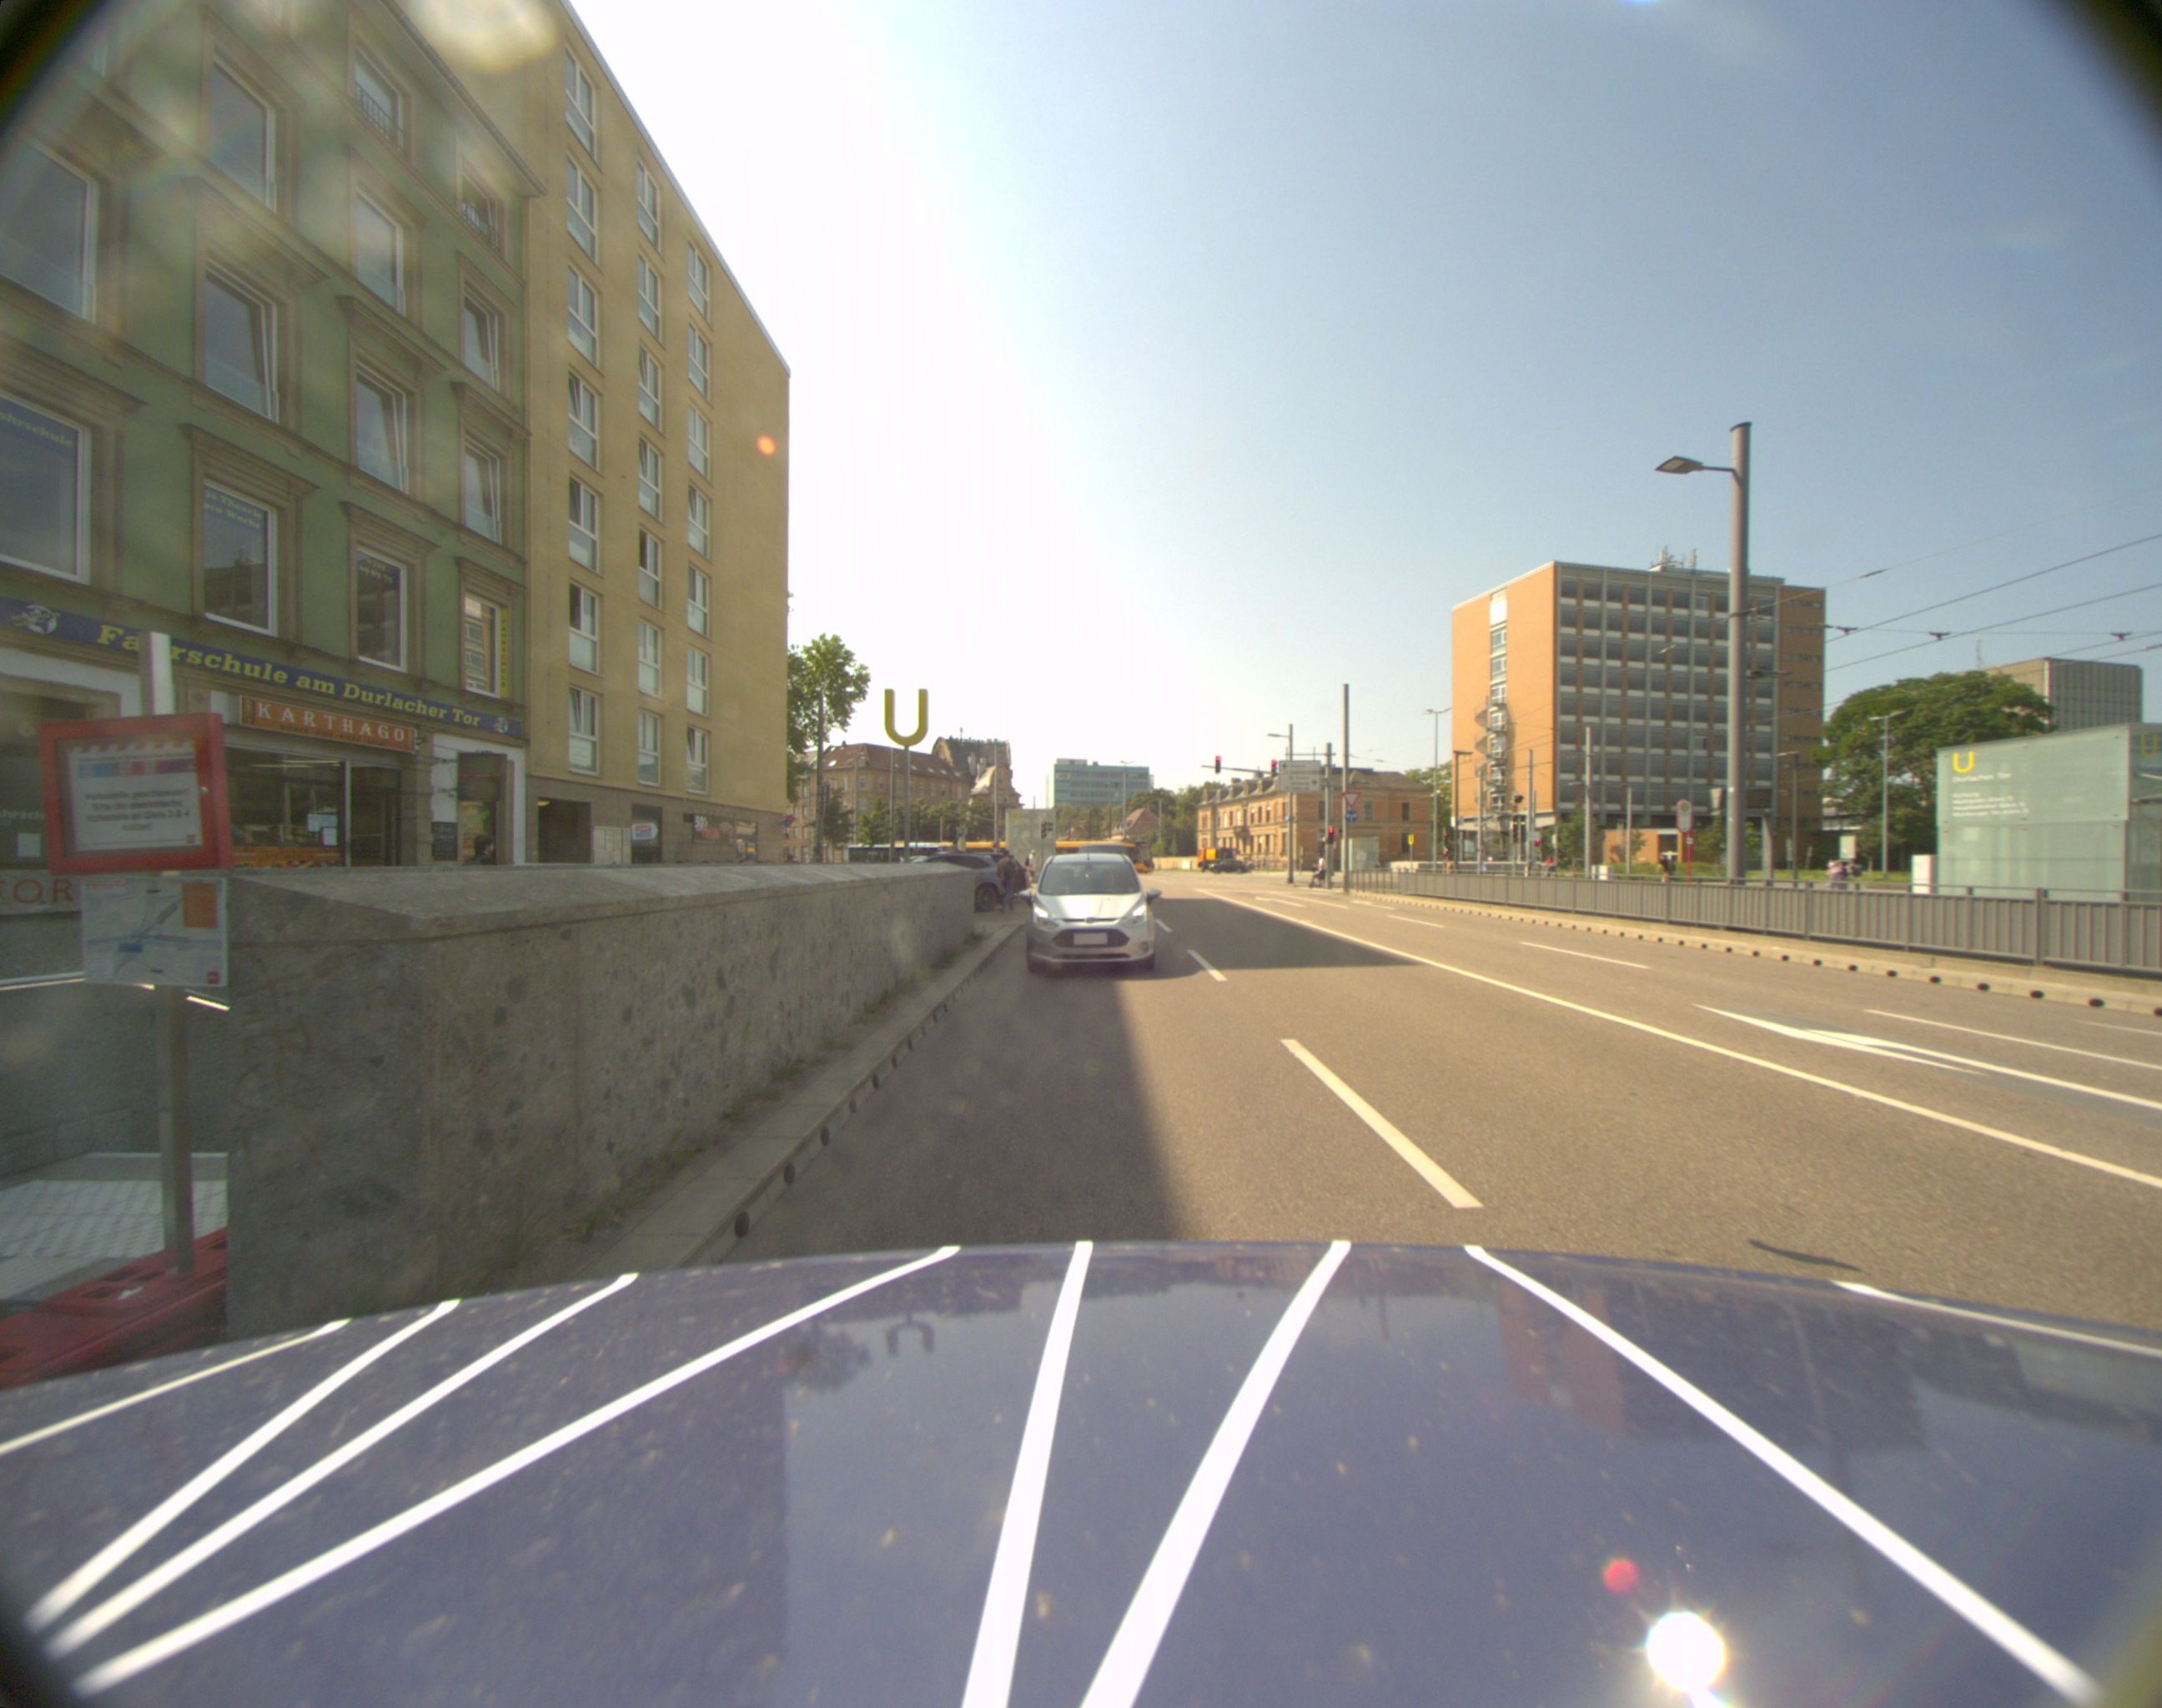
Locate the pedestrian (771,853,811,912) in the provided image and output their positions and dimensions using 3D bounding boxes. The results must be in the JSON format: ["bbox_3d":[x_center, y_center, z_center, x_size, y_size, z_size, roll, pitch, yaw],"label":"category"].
[{"bbox_3d":[-8.002,0.773,20.944,0.854,1.572,0.968,0,1,-33],"label":"pedestrian"}]

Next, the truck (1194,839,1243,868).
[{"bbox_3d":[16.757,0.035,93.308,3.044,3.209,7.183,1,-2,-16],"label":"truck"}]

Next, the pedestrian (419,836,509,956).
[{"bbox_3d":[-8.537,0.543,10.563,0.854,1.572,0.968,0,1,-33],"label":"pedestrian"}]

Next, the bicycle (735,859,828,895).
[{"bbox_3d":[-12.027,0.903,30.581,3.370,1.396,0.901,0,0,-35],"label":"bicycle"}]

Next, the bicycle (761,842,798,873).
[{"bbox_3d":[-12.338,0.137,31.117,0.729,1.239,1.960,0,0,0],"label":"bicycle"}]

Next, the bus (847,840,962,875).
[{"bbox_3d":[-16.845,0.322,71.734,12.048,3.046,2.740,0,0,31],"label":"bus"}]

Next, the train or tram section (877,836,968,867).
[{"bbox_3d":[-18.983,-0.283,90.440,12.182,3.539,2.601,0,0,33],"label":"train or tram section"}]

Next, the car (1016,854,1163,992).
[{"bbox_3d":[0.187,0.796,10.966,1.691,1.585,4.362,0,0,2],"label":"car"}]

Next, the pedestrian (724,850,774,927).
[{"bbox_3d":[-7.380,0.746,16.921,0.672,1.675,0.943,1,0,1],"label":"pedestrian"}]

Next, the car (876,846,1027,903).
[{"bbox_3d":[-4.093,0.595,24.471,4.402,1.677,1.981,0,0,-41],"label":"car"}]

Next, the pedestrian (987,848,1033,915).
[{"bbox_3d":[-1.931,0.746,20.672,0.870,1.741,0.871,-2,-1,-33],"label":"pedestrian"}]

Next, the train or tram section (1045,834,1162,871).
[{"bbox_3d":[2.138,-0.197,76.850,12.182,3.539,2.601,0,0,33],"label":"train or tram section"}]

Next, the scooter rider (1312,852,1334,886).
[{"bbox_3d":[11.711,0.717,36.777,0.773,1.663,0.779,0,1,1],"label":"scooter rider"}]

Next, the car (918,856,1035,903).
[{"bbox_3d":[-3.758,0.895,27.706,3.793,1.491,1.802,-2,-1,-40],"label":"car"}]

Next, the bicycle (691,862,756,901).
[{"bbox_3d":[-12.158,0.913,25.926,0.941,1.231,2.423,0,0,4],"label":"bicycle"}]

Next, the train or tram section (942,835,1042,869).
[{"bbox_3d":[-10.023,-0.229,84.678,12.182,3.539,2.601,0,0,33],"label":"train or tram section"}]

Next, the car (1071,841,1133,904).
[{"bbox_3d":[0.746,0.572,25.865,1.899,1.919,4.886,1,0,3],"label":"car"}]

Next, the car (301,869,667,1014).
[{"bbox_3d":[-6.949,0.911,9.402,1.635,1.432,3.620,0,-1,1],"label":"car"}]

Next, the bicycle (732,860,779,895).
[{"bbox_3d":[-12.007,0.843,28.058,0.590,1.231,1.548,0,0,33],"label":"bicycle"}]

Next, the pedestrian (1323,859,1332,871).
[{"bbox_3d":[28.265,1.254,87.054,0.847,1.386,0.787,0,0,3],"label":"pedestrian"}]

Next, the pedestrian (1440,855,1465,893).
[{"bbox_3d":[16.086,0.875,32.936,0.574,1.648,0.800,0,-2,-17],"label":"pedestrian"}]

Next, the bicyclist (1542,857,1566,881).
[{"bbox_3d":[29.412,0.934,47.277,0.877,1.451,0.980,1,1,4],"label":"bicyclist"}]

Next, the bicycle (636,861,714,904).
[{"bbox_3d":[-12.264,0.839,23.082,0.941,1.231,2.423,0,0,4],"label":"bicycle"}]

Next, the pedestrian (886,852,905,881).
[{"bbox_3d":[-10.204,0.678,41.849,0.793,1.600,0.949,1,1,-2],"label":"pedestrian"}]

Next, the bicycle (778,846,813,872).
[{"bbox_3d":[-13.955,0.233,37.203,0.794,1.231,2.435,0,0,1],"label":"bicycle"}]

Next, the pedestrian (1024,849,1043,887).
[{"bbox_3d":[-2.325,0.662,36.988,0.821,1.797,0.814,-1,0,1],"label":"pedestrian"}]

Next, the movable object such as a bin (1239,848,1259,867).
[{"bbox_3d":[23.703,0.536,107.285,1.817,2.656,4.455,0,0,0],"label":"movable object such as a bin"}]

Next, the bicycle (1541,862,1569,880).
[{"bbox_3d":[29.379,1.068,47.148,0.614,1.063,1.913,1,1,4],"label":"bicycle"}]

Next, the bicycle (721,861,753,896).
[{"bbox_3d":[-12.635,0.865,27.926,0.409,1.231,1.827,0,0,-2],"label":"bicycle"}]

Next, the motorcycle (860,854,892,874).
[{"bbox_3d":[-12.048,0.574,44.701,0.911,1.130,2.114,0,0,13],"label":"motorcycle"}]

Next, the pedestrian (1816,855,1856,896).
[{"bbox_3d":[33.644,0.941,33.878,0.785,1.770,0.959,0,1,3],"label":"pedestrian"}]

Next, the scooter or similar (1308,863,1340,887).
[{"bbox_3d":[11.742,1.001,36.773,1.341,1.142,0.709,0,1,0],"label":"scooter or similar"}]

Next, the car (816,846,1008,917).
[{"bbox_3d":[-4.479,0.669,20.553,4.675,1.703,2.038,0,0,-41],"label":"car"}]

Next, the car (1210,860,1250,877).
[{"bbox_3d":[16.082,1.579,82.216,3.991,1.782,2.004,0,-2,20],"label":"car"}]

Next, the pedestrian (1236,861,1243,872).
[{"bbox_3d":[19.887,1.515,95.184,0.815,1.343,0.720,0,0,8],"label":"pedestrian"}]

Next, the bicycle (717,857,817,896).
[{"bbox_3d":[-11.732,0.833,28.479,3.370,1.396,0.901,0,0,-35],"label":"bicycle"}]

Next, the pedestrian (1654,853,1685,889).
[{"bbox_3d":[29.615,0.844,38.262,0.785,1.770,0.959,0,1,3],"label":"pedestrian"}]
